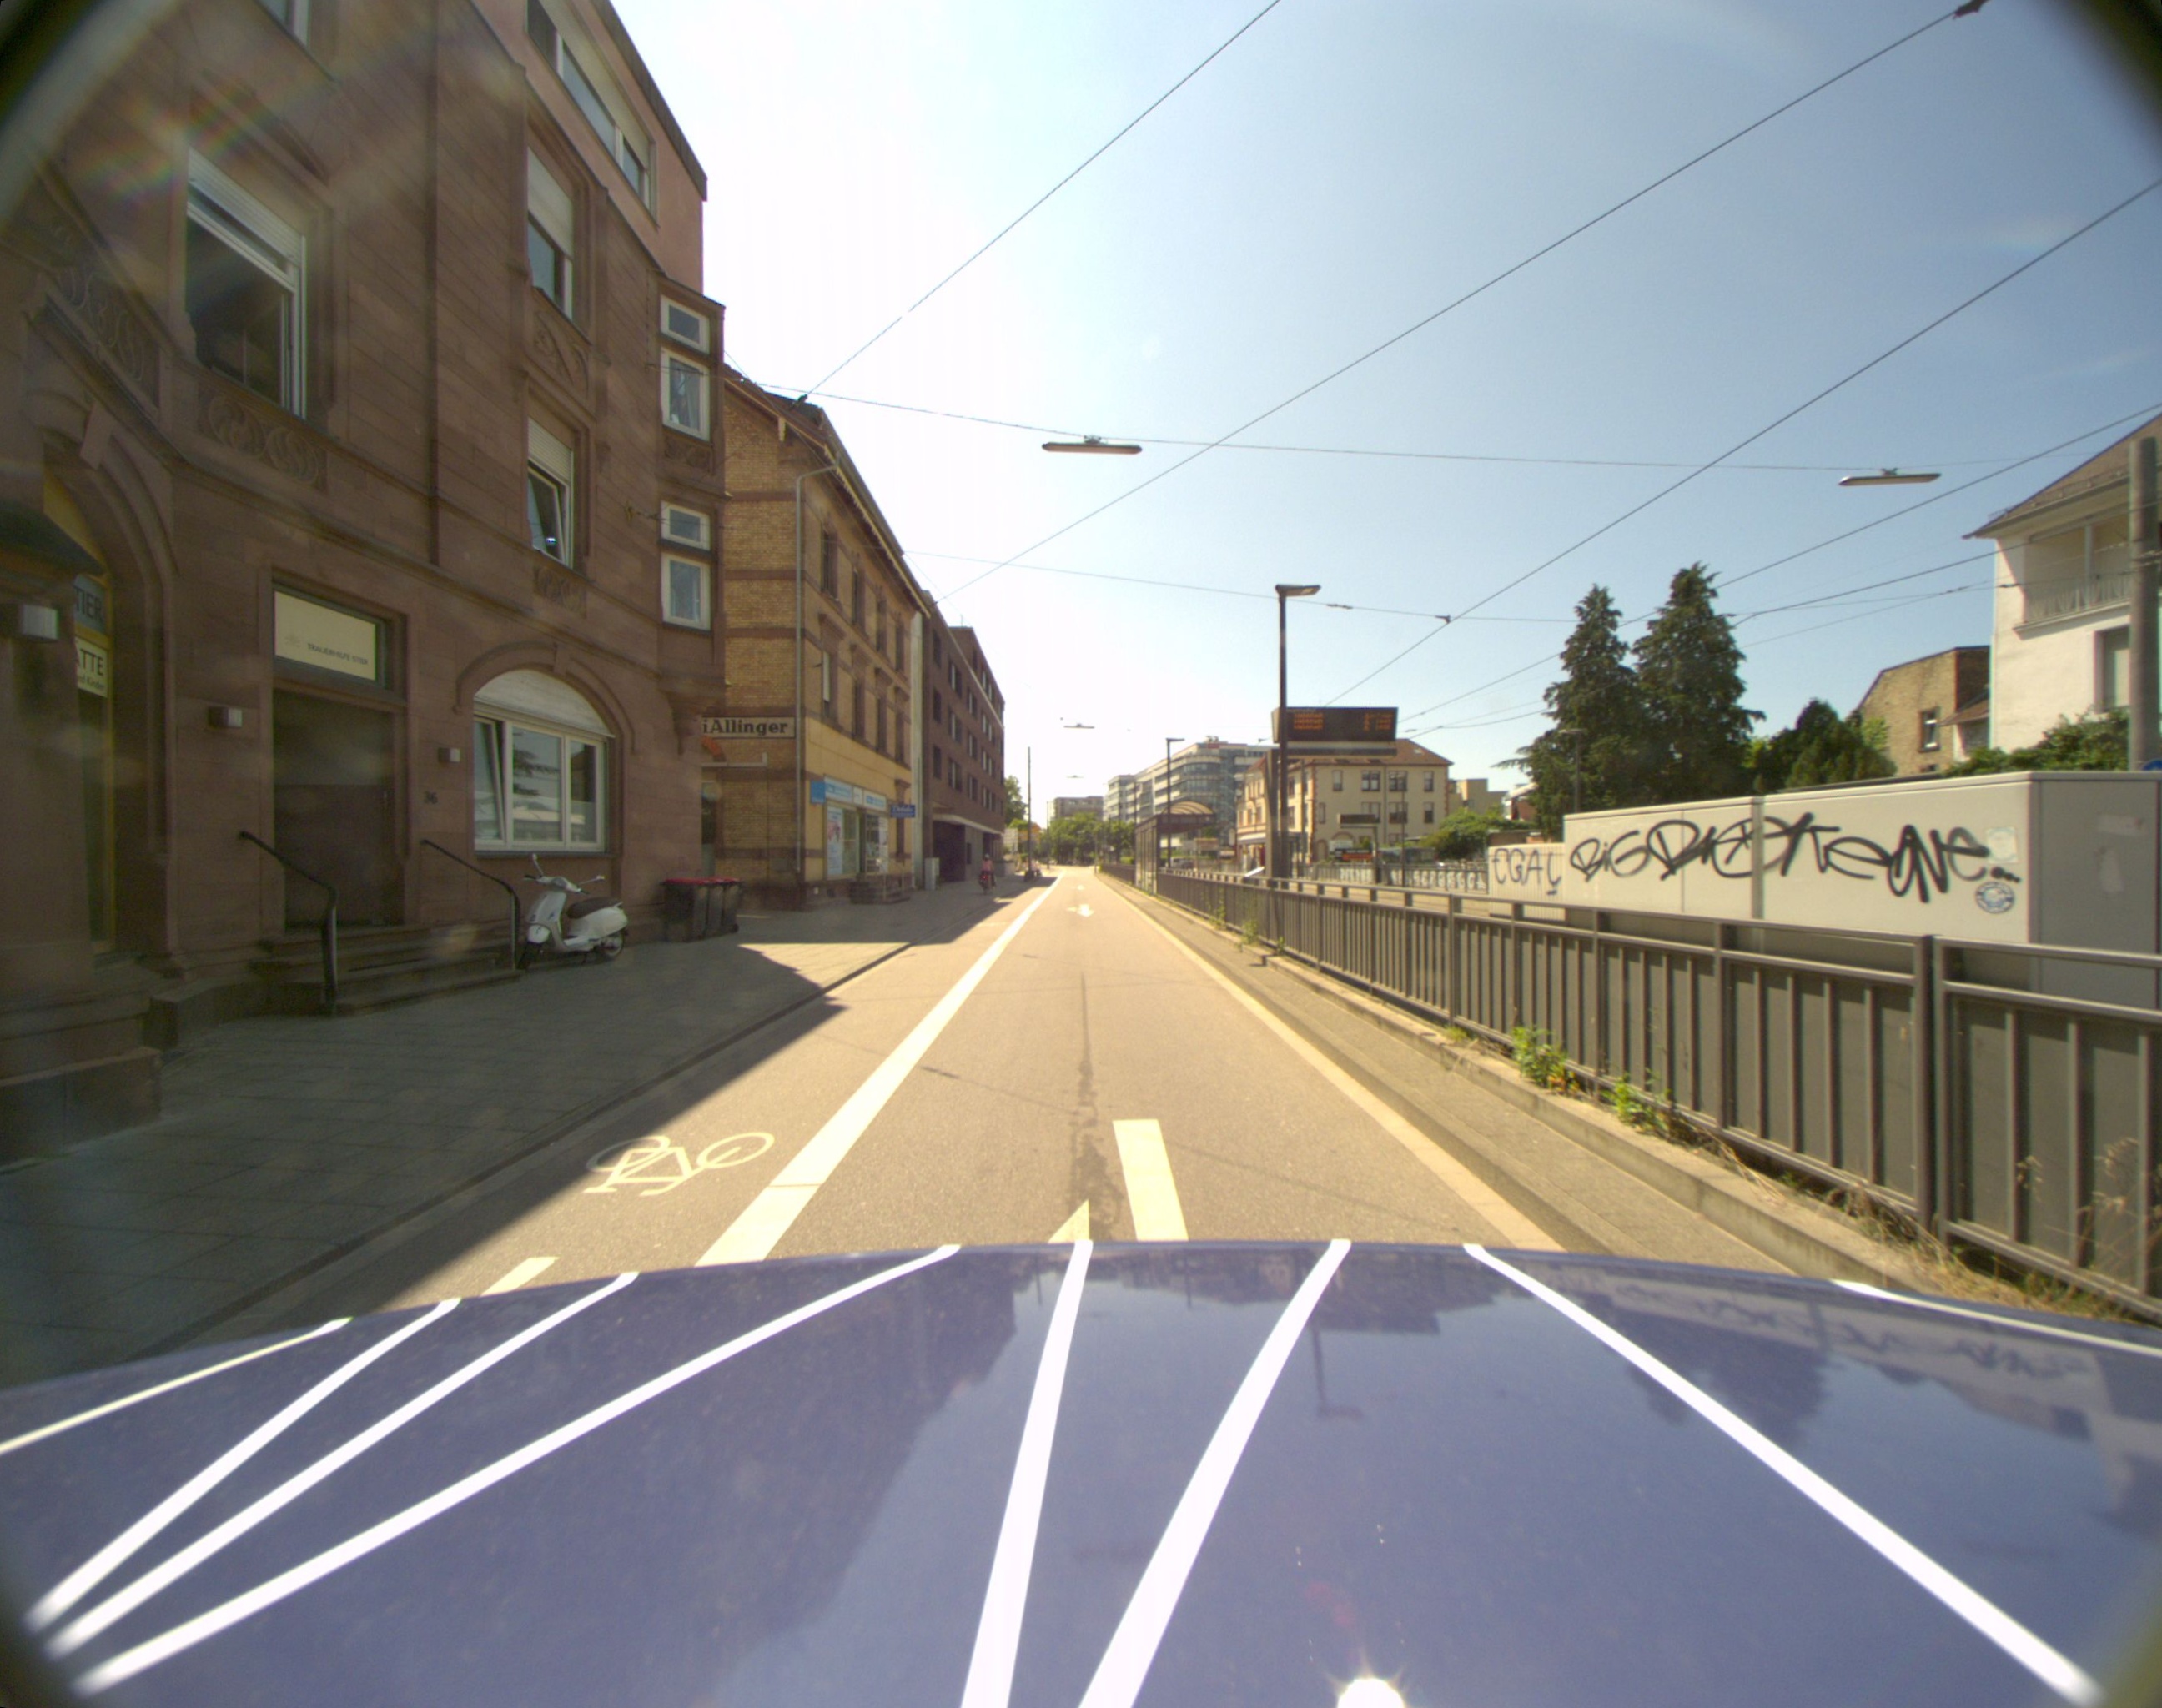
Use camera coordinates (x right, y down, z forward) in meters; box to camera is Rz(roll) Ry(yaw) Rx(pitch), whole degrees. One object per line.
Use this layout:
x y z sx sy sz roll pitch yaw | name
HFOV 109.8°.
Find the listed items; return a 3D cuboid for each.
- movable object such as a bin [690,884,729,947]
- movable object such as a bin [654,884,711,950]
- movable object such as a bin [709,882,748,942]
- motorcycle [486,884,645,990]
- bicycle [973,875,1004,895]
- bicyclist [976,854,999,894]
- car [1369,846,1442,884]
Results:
-6.525 1.073 13.350 0.376 1.042 0.559 2 0 0 | movable object such as a bin
-6.685 1.054 12.767 0.649 1.042 0.559 2 0 -1 | movable object such as a bin
-6.473 1.063 13.974 0.376 1.042 0.657 2 0 0 | movable object such as a bin
-6.440 0.989 9.630 0.527 1.142 1.881 0 0 8 | motorcycle
-4.044 1.344 33.242 0.689 0.793 1.910 -1 0 15 | bicycle
-4.075 0.864 33.159 0.671 1.712 0.929 -1 0 14 | bicyclist
16.553 0.546 38.972 1.999 1.827 3.999 -1 0 -1 | car
